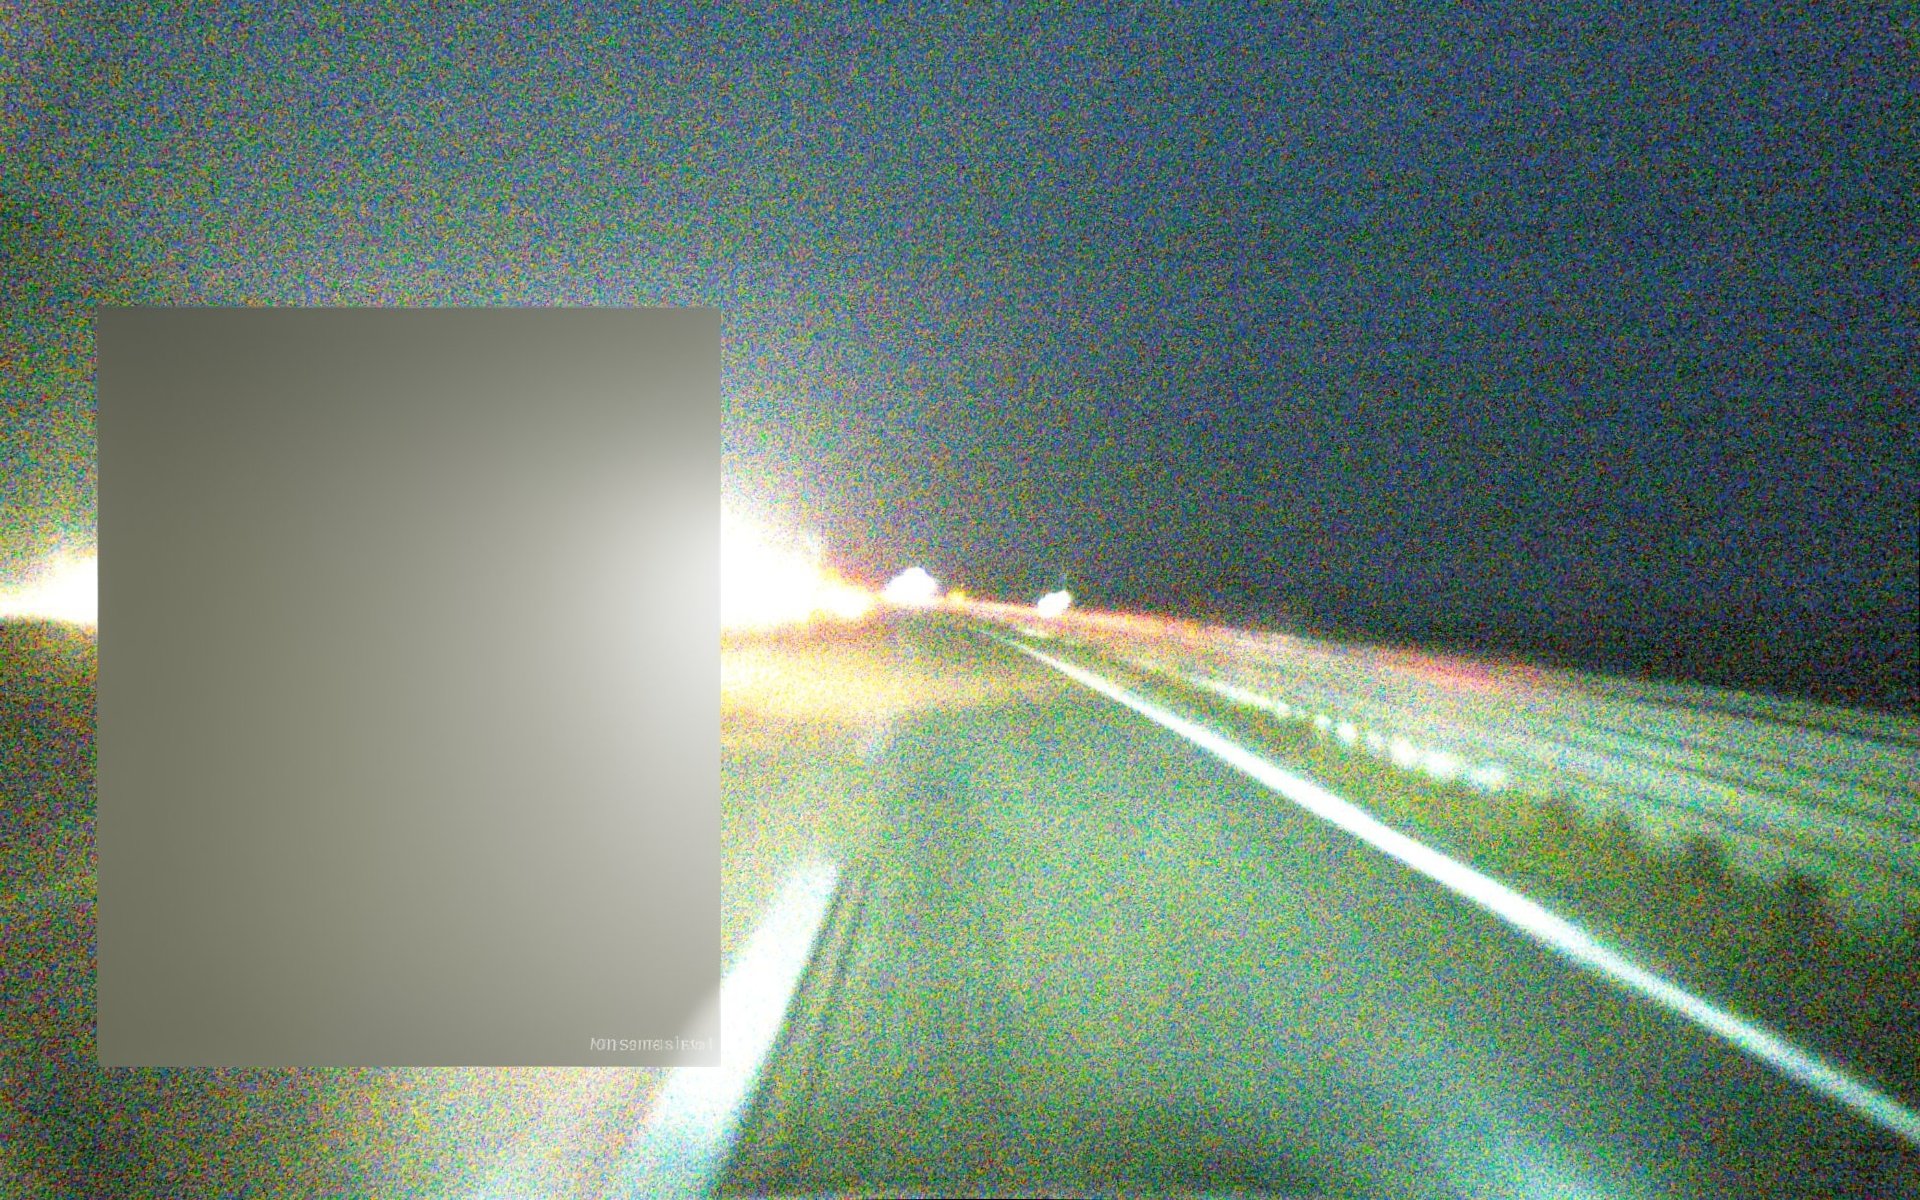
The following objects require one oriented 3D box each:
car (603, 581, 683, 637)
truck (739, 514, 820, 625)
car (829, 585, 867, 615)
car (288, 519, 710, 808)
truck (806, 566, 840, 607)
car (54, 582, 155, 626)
[{"bbox_3d":[-10.453,0.283,54.765,1.953,1.736,4.193,1,0,-2],"label":"car"},{"bbox_3d":[-10.210,-1.579,92.673,4.088,5.641,13.053,1,0,-7],"label":"truck"},{"bbox_3d":[-6.650,0.006,97.650,1.956,1.736,4.188,1,0,-8],"label":"car"},{"bbox_3d":[-3.367,0.418,13.249,1.913,1.823,5.124,1,0,0],"label":"car"},{"bbox_3d":[-17.813,-1.718,214.173,3.751,5.001,11.587,1,0,-7],"label":"truck"},{"bbox_3d":[-31.703,0.137,61.394,1.740,1.497,3.983,3,0,-3],"label":"car"}]
